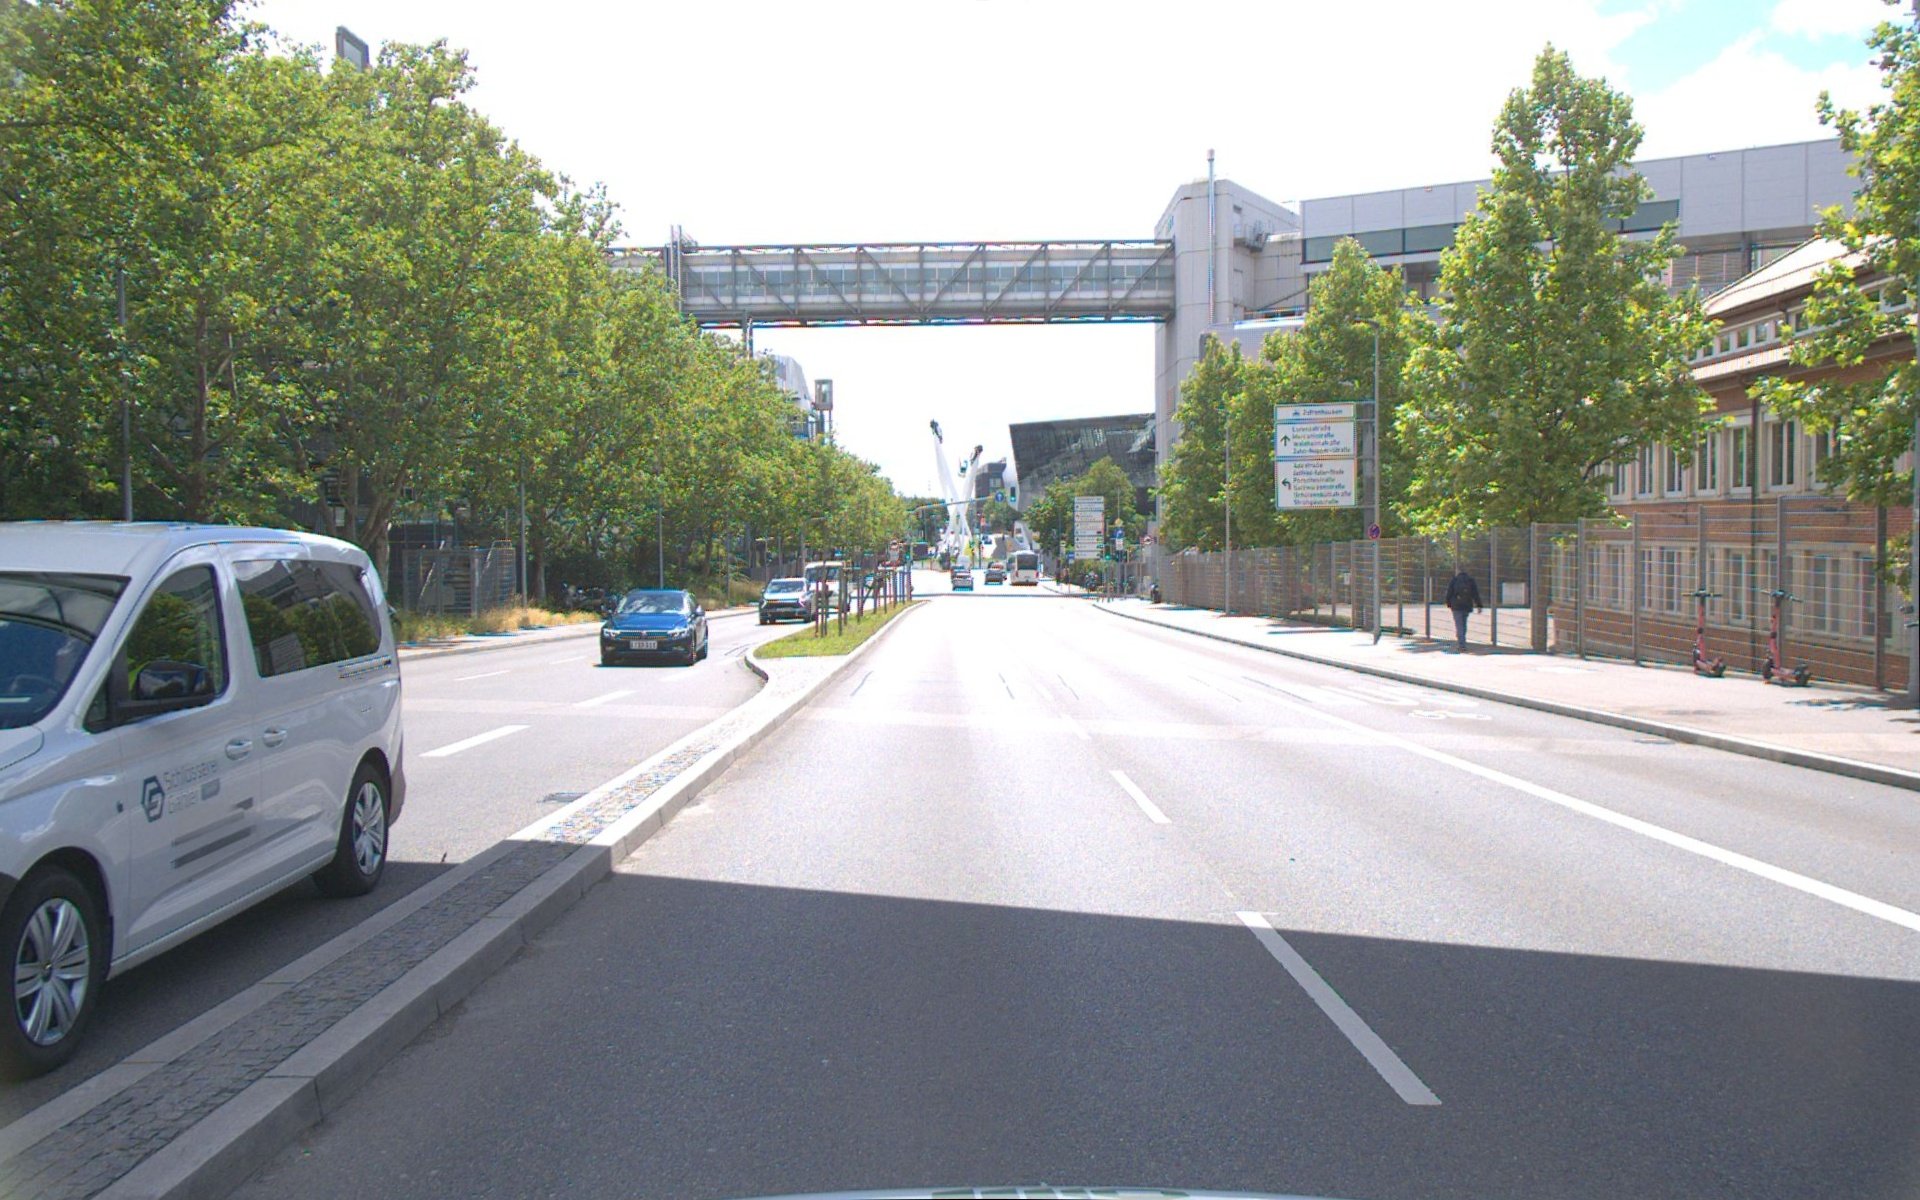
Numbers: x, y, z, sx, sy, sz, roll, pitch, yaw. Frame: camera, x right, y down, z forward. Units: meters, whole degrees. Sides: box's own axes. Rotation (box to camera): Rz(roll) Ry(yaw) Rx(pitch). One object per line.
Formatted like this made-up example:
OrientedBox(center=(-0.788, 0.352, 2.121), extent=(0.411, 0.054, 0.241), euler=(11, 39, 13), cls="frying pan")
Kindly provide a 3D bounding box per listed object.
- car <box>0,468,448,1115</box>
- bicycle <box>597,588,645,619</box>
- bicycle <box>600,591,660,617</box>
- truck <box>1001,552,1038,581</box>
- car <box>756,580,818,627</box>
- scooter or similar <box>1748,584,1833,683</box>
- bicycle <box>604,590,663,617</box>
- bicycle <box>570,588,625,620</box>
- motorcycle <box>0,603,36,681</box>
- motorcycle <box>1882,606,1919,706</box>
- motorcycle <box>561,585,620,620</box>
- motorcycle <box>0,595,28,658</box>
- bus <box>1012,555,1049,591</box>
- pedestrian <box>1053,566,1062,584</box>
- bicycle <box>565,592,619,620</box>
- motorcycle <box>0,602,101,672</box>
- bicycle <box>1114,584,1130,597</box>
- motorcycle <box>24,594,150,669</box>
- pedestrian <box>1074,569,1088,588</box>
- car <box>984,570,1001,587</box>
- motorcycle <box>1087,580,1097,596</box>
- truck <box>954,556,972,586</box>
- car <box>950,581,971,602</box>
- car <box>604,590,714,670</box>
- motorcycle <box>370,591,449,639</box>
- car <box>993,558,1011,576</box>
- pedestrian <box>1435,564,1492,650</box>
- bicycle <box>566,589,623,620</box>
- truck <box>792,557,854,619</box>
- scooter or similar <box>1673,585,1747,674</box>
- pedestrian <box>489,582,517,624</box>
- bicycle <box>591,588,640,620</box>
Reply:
OrientedBox(center=(-3.641, 0.523, 6.641), extent=(1.772, 1.811, 4.976), euler=(0, 0, -2), cls="car")
OrientedBox(center=(-14.352, 0.159, 69.987), extent=(1.879, 1.305, 0.806), euler=(0, 0, -2), cls="bicycle")
OrientedBox(center=(-14.710, 0.178, 73.747), extent=(2.510, 1.115, 0.696), euler=(-1, 0, 10), cls="bicycle")
OrientedBox(center=(9.400, -5.260, 259.925), extent=(3.380, 4.468, 9.424), euler=(1, 1, 18), cls="truck")
OrientedBox(center=(-6.326, 0.102, 60.847), extent=(1.866, 1.659, 4.293), euler=(0, 1, 0), cls="car")
OrientedBox(center=(11.454, 0.440, 22.845), extent=(0.481, 1.317, 1.336), euler=(-1, 0, 0), cls="scooter or similar")
OrientedBox(center=(-14.940, 0.158, 75.685), extent=(2.510, 1.177, 0.726), euler=(1, 0, 10), cls="bicycle")
OrientedBox(center=(-14.877, 0.171, 67.856), extent=(2.090, 1.305, 0.806), euler=(0, 0, -2), cls="bicycle")
OrientedBox(center=(-15.344, 0.623, 25.667), extent=(1.558, 1.142, 0.776), euler=(2, 2, 1), cls="motorcycle")
OrientedBox(center=(11.056, 0.629, 18.065), extent=(0.654, 1.083, 2.247), euler=(-3, 0, -1), cls="motorcycle")
OrientedBox(center=(-14.249, 0.089, 63.798), extent=(2.090, 1.332, 0.806), euler=(0, 0, -2), cls="motorcycle")
OrientedBox(center=(-18.842, 0.472, 31.577), extent=(1.894, 1.135, 0.920), euler=(3, 2, 27), cls="motorcycle")
OrientedBox(center=(7.274, -2.796, 171.428), extent=(3.382, 3.605, 10.606), euler=(0, 1, 0), cls="bus")
OrientedBox(center=(9.451, -2.384, 159.716), extent=(0.803, 1.737, 0.881), euler=(0, 0, 1), cls="pedestrian")
OrientedBox(center=(-14.674, 0.247, 66.014), extent=(2.039, 1.081, 0.497), euler=(0, 0, -2), cls="bicycle")
OrientedBox(center=(-15.105, 0.599, 27.161), extent=(1.558, 1.051, 0.776), euler=(2, 2, 1), cls="motorcycle")
OrientedBox(center=(12.477, -0.720, 127.445), extent=(0.392, 0.953, 1.914), euler=(0, 1, -24), cls="bicycle")
OrientedBox(center=(-14.924, 0.538, 28.318), extent=(1.715, 1.199, 0.850), euler=(1, 2, -12), cls="motorcycle")
OrientedBox(center=(10.504, -1.862, 143.394), extent=(0.835, 1.653, 0.951), euler=(1, 1, 42), cls="pedestrian")
OrientedBox(center=(3.334, -2.195, 169.069), extent=(1.702, 1.772, 3.692), euler=(0, 1, 1), cls="car")
OrientedBox(center=(10.636, -0.971, 133.359), extent=(0.692, 1.224, 2.024), euler=(-2, 1, 1), cls="motorcycle")
OrientedBox(center=(0.387, -3.824, 221.388), extent=(2.343, 3.965, 6.178), euler=(0, 1, 1), cls="truck")
OrientedBox(center=(0.063, -0.762, 142.419), extent=(1.702, 1.772, 3.692), euler=(0, 1, 1), cls="car")
OrientedBox(center=(-6.008, 0.551, 33.439), extent=(1.675, 1.479, 4.476), euler=(0, 1, -4), cls="car")
OrientedBox(center=(-14.721, 0.388, 44.242), extent=(1.838, 1.193, 0.746), euler=(2, 2, 9), cls="motorcycle")
OrientedBox(center=(4.935, -3.920, 196.164), extent=(1.953, 2.049, 3.999), euler=(1, -1, 0), cls="car")
OrientedBox(center=(10.765, 0.150, 35.378), extent=(0.859, 1.774, 0.940), euler=(-2, 0, -1), cls="pedestrian")
OrientedBox(center=(-14.313, 0.174, 64.802), extent=(2.090, 1.201, 0.806), euler=(0, 0, -2), cls="bicycle")
OrientedBox(center=(-6.448, -0.590, 78.529), extent=(2.428, 2.799, 6.458), euler=(-1, 1, 0), cls="truck")
OrientedBox(center=(11.438, 0.433, 25.263), extent=(0.481, 1.317, 1.336), euler=(-1, 0, 0), cls="scooter or similar")
OrientedBox(center=(-16.996, 0.105, 61.490), extent=(0.738, 1.579, 0.821), euler=(0, 0, 10), cls="pedestrian")
OrientedBox(center=(-14.318, 0.164, 68.814), extent=(1.879, 1.305, 0.806), euler=(0, 0, -2), cls="bicycle")
